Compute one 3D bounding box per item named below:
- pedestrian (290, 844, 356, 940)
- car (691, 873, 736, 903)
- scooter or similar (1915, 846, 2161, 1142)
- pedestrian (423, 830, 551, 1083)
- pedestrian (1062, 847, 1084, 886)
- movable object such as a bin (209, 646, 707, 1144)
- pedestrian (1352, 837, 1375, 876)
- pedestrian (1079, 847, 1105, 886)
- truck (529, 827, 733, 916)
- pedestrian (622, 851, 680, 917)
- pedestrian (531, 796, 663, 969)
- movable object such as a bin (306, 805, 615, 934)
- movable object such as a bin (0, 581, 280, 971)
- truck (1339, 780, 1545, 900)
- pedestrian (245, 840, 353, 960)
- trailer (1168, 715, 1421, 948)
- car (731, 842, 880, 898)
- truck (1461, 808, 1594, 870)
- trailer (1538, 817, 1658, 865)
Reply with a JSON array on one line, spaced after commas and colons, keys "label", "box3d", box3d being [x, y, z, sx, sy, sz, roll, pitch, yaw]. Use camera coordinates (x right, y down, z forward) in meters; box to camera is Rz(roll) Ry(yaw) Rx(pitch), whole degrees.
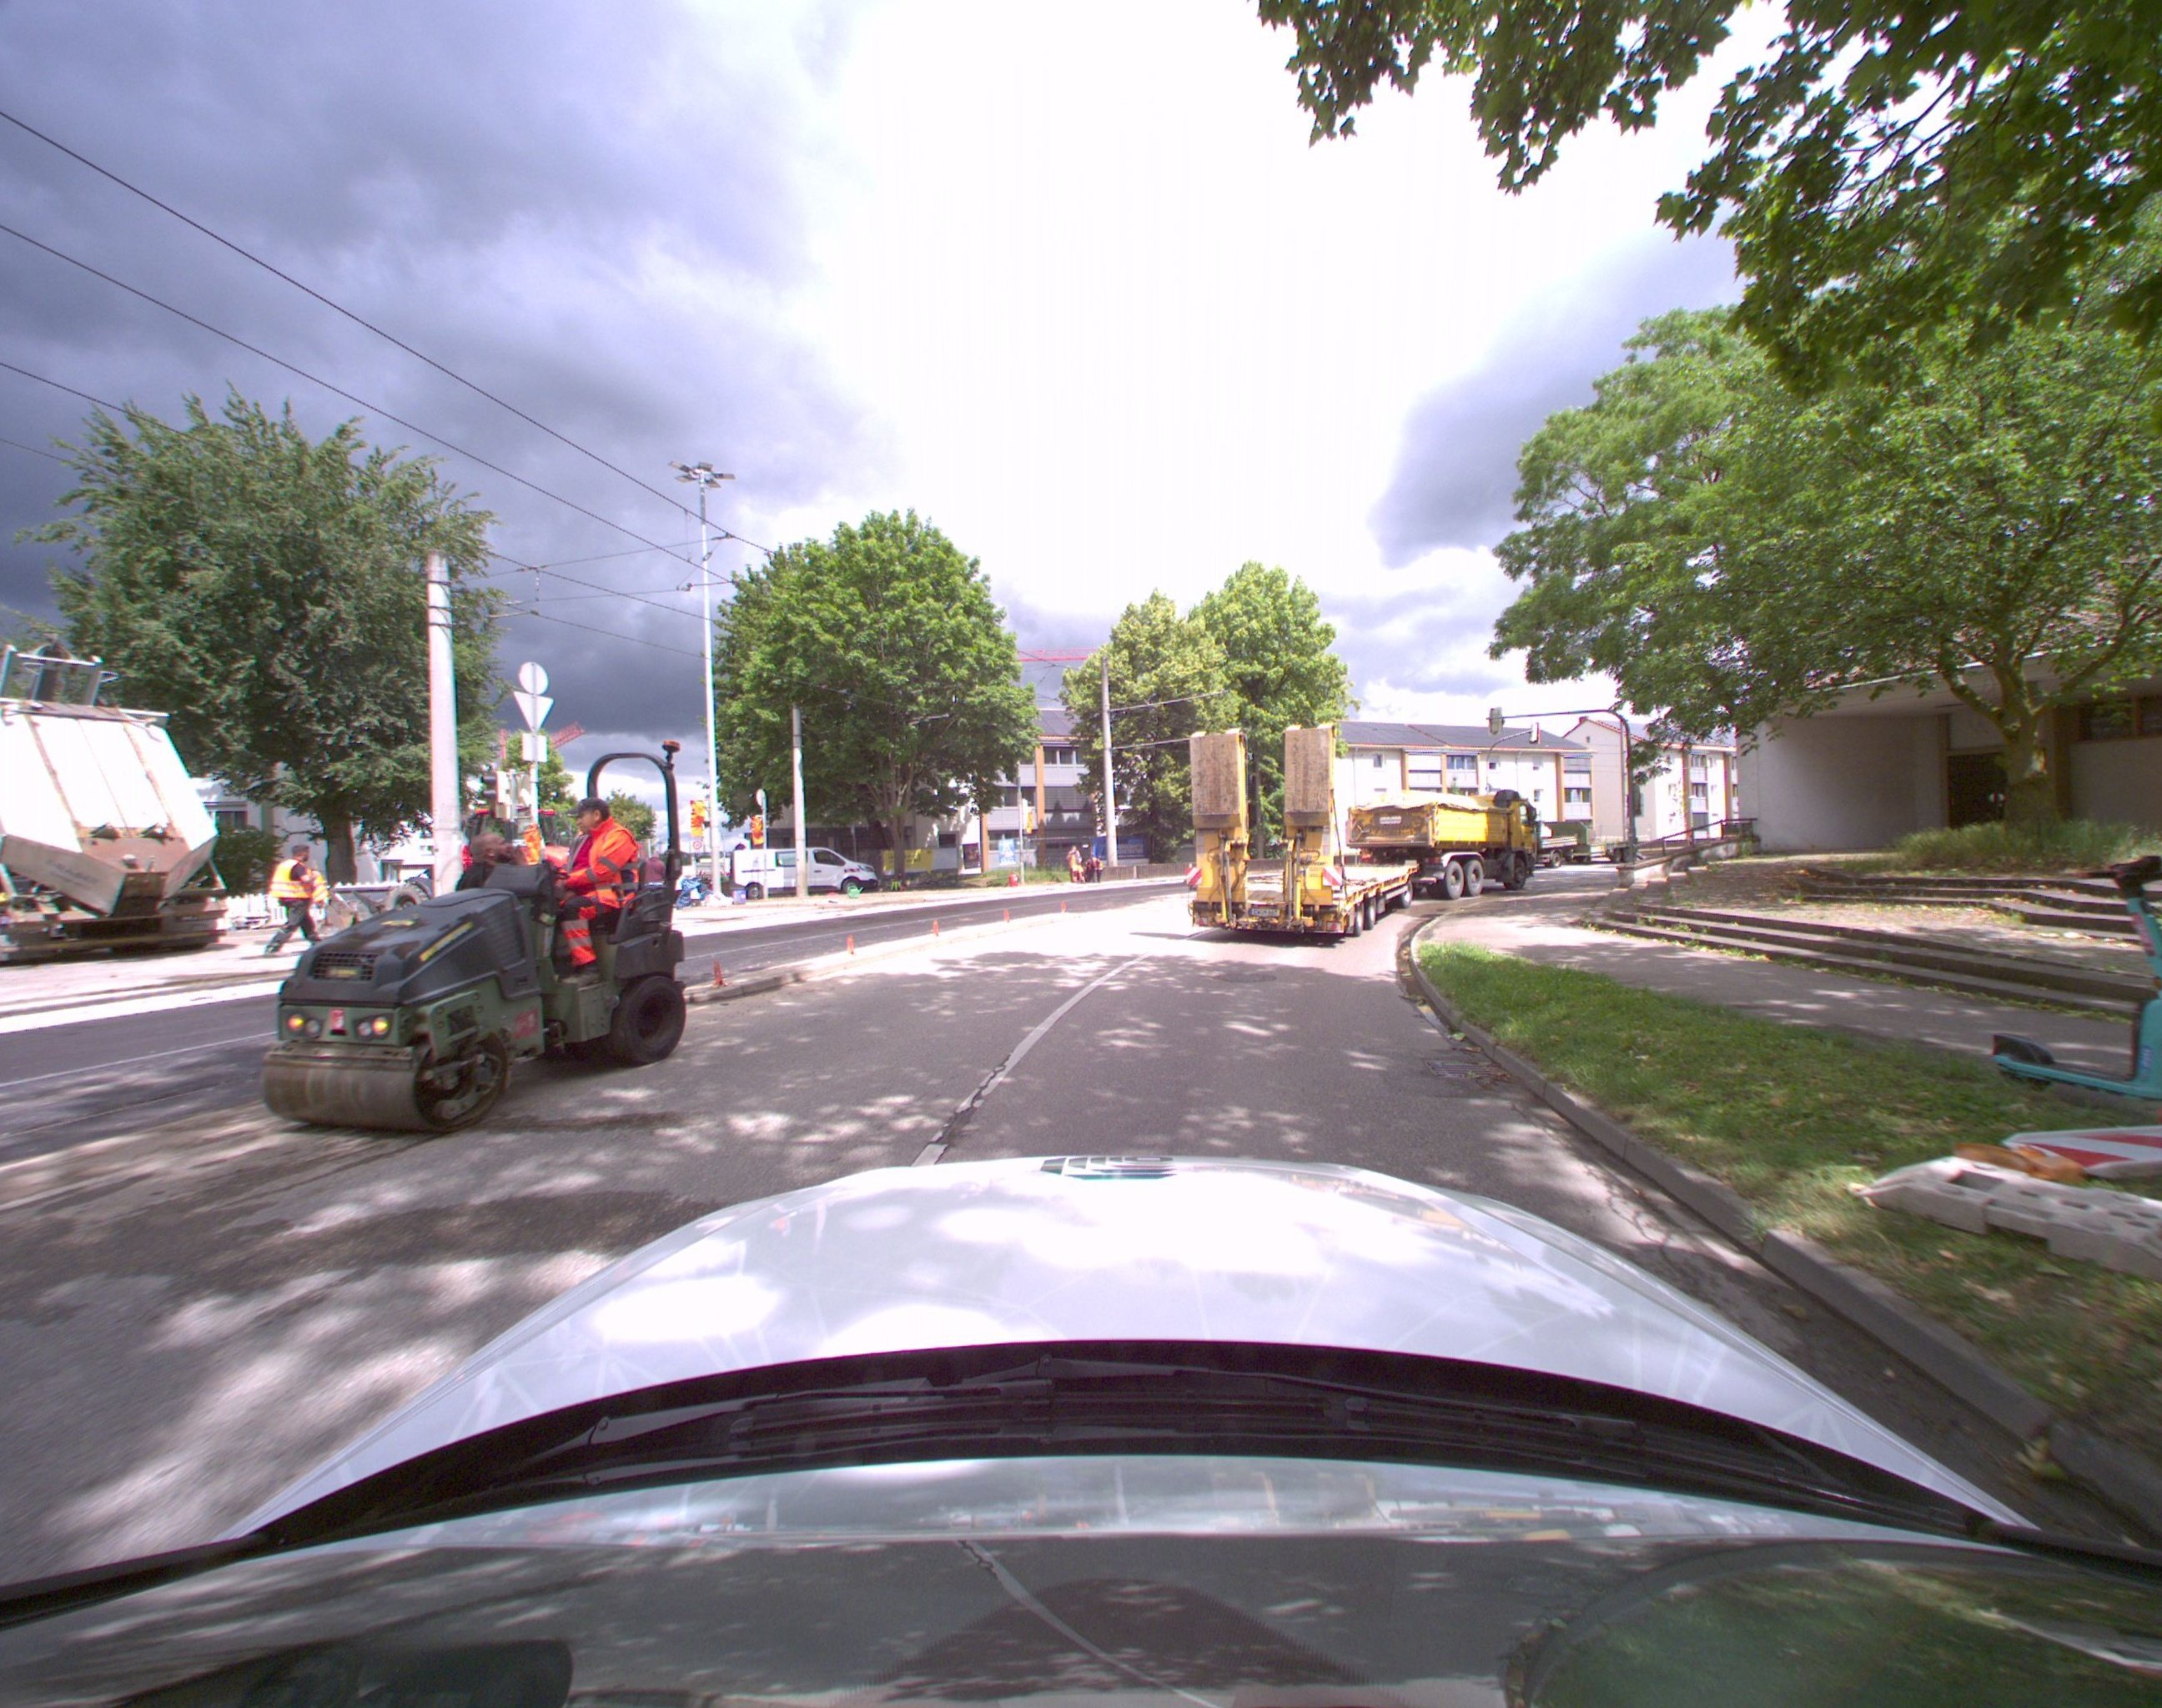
[{"label": "pedestrian", "box3d": [-14.516, 0.710, 15.606, 0.578, 1.788, 0.613, -2, 1, 2]}, {"label": "car", "box3d": [-19.770, 1.798, 43.921, 1.777, 1.459, 3.852, -2, -1, -18]}, {"label": "scooter or similar", "box3d": [4.922, 0.590, 3.990, 0.560, 1.232, 1.199, -2, 0, 12]}, {"label": "pedestrian", "box3d": [-4.146, 0.682, 5.713, 0.467, 1.682, 0.559, 0, 0, 2]}, {"label": "pedestrian", "box3d": [-0.341, 0.507, 33.176, 0.759, 1.541, 0.796, -2, 0, -8]}, {"label": "movable object such as a bin", "box3d": [-3.891, 0.222, 5.510, 1.308, 2.593, 2.369, -1, 0, 10]}, {"label": "pedestrian", "box3d": [12.345, 0.111, 35.606, 0.697, 1.668, 0.833, -1, -2, 38]}, {"label": "pedestrian", "box3d": [0.461, 0.508, 33.434, 0.904, 1.533, 0.839, -2, 0, -8]}, {"label": "truck", "box3d": [-15.322, 0.589, 27.979, 5.542, 2.568, 2.421, -4, -1, 3]}, {"label": "pedestrian", "box3d": [-11.193, 0.766, 21.225, 0.921, 1.659, 0.876, -2, 0, 6]}, {"label": "pedestrian", "box3d": [-3.612, 0.205, 6.111, 0.546, 1.216, 0.619, -2, 0, 9]}, {"label": "movable object such as a bin", "box3d": [-14.048, 0.361, 18.647, 5.544, 2.669, 2.118, -1, -1, 4]}, {"label": "movable object such as a bin", "box3d": [-18.443, -0.924, 14.667, 8.922, 5.485, 2.838, -3, -1, 26]}, {"label": "truck", "box3d": [11.369, -0.480, 25.220, 7.722, 3.167, 2.892, -2, 1, -42]}, {"label": "pedestrian", "box3d": [-12.461, 0.714, 12.995, 0.787, 1.832, 0.976, -1, -1, 18]}, {"label": "trailer", "box3d": [5.336, -0.436, 17.869, 2.796, 3.523, 11.120, 0, 1, 28]}, {"label": "car", "box3d": [-10.532, 0.628, 31.500, 5.245, 1.887, 1.988, -2, -2, -17]}, {"label": "truck", "box3d": [21.260, -0.790, 38.749, 6.415, 2.724, 2.645, -2, 3, -30]}, {"label": "trailer", "box3d": [26.684, -0.745, 41.999, 6.267, 2.213, 2.645, -2, 3, -30]}]
